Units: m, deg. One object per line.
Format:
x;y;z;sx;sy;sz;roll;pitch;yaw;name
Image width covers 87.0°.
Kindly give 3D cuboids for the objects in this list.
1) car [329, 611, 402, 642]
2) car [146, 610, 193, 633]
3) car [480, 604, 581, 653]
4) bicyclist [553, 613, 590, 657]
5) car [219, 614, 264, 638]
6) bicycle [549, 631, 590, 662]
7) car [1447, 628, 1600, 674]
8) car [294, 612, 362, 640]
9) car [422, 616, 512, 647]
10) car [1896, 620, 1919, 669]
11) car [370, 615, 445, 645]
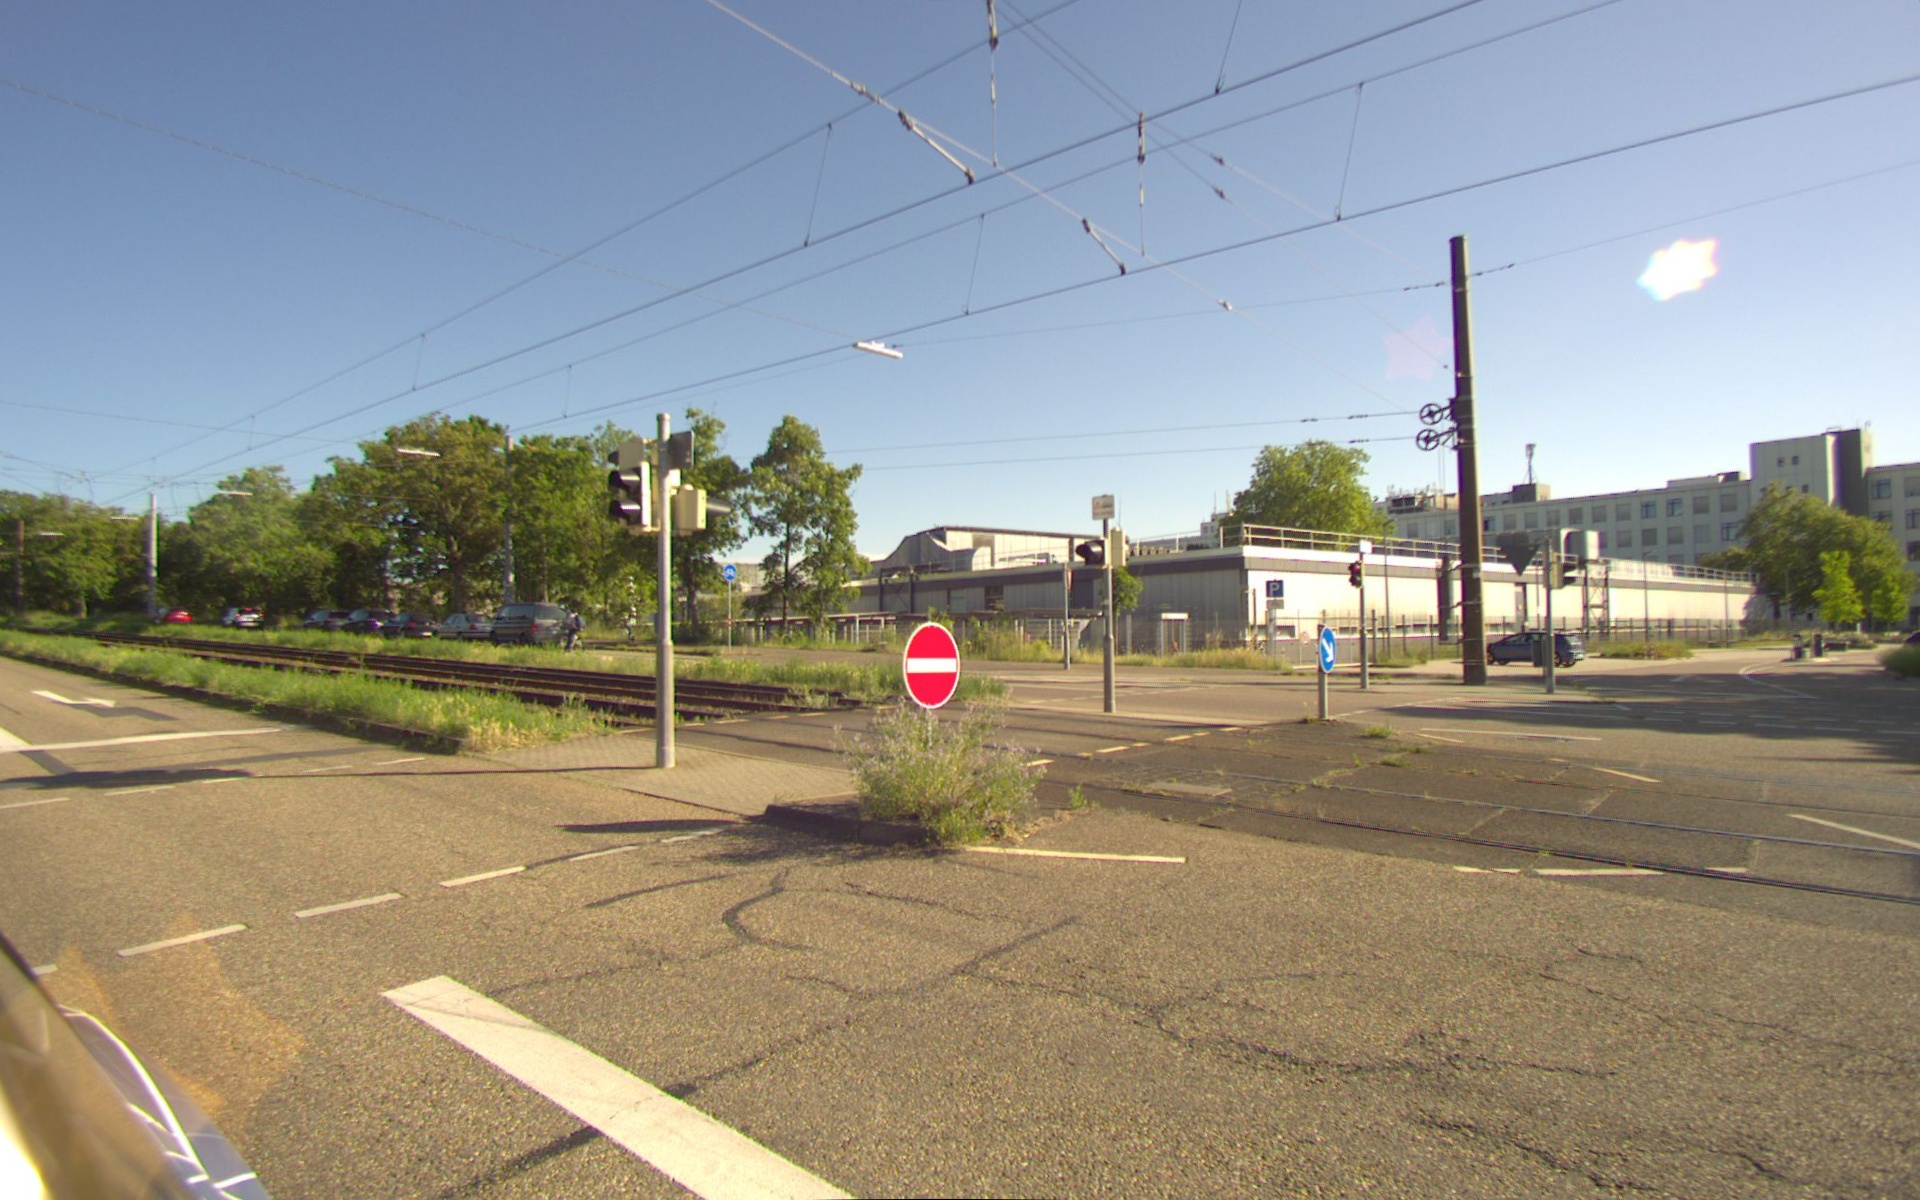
-32.361;1.434;55.059;4.614;1.599;2.103;-1;-1;41;car
-63.447;1.746;81.194;4.797;1.746;2.290;-1;-1;43;car
-18.221;1.183;42.877;4.684;1.949;2.178;-1;-1;42;car
-14.413;1.296;37.538;1.236;1.605;0.794;-1;-1;42;bicyclist
-49.544;1.758;69.731;4.159;1.569;1.834;-1;-1;45;car
-14.559;1.707;37.672;1.781;1.110;0.689;-1;-1;42;bicycle
23.957;2.112;43.231;2.138;1.762;5.304;0;-1;-37;car
-37.201;1.504;59.524;4.557;1.575;2.103;-1;-1;40;car
-23.171;1.466;47.520;4.612;1.391;2.104;-1;-1;39;car
36.682;1.587;35.909;2.019;1.741;4.847;0;-1;-40;car
-28.158;1.519;51.516;4.486;1.437;1.935;-1;-1;42;car
